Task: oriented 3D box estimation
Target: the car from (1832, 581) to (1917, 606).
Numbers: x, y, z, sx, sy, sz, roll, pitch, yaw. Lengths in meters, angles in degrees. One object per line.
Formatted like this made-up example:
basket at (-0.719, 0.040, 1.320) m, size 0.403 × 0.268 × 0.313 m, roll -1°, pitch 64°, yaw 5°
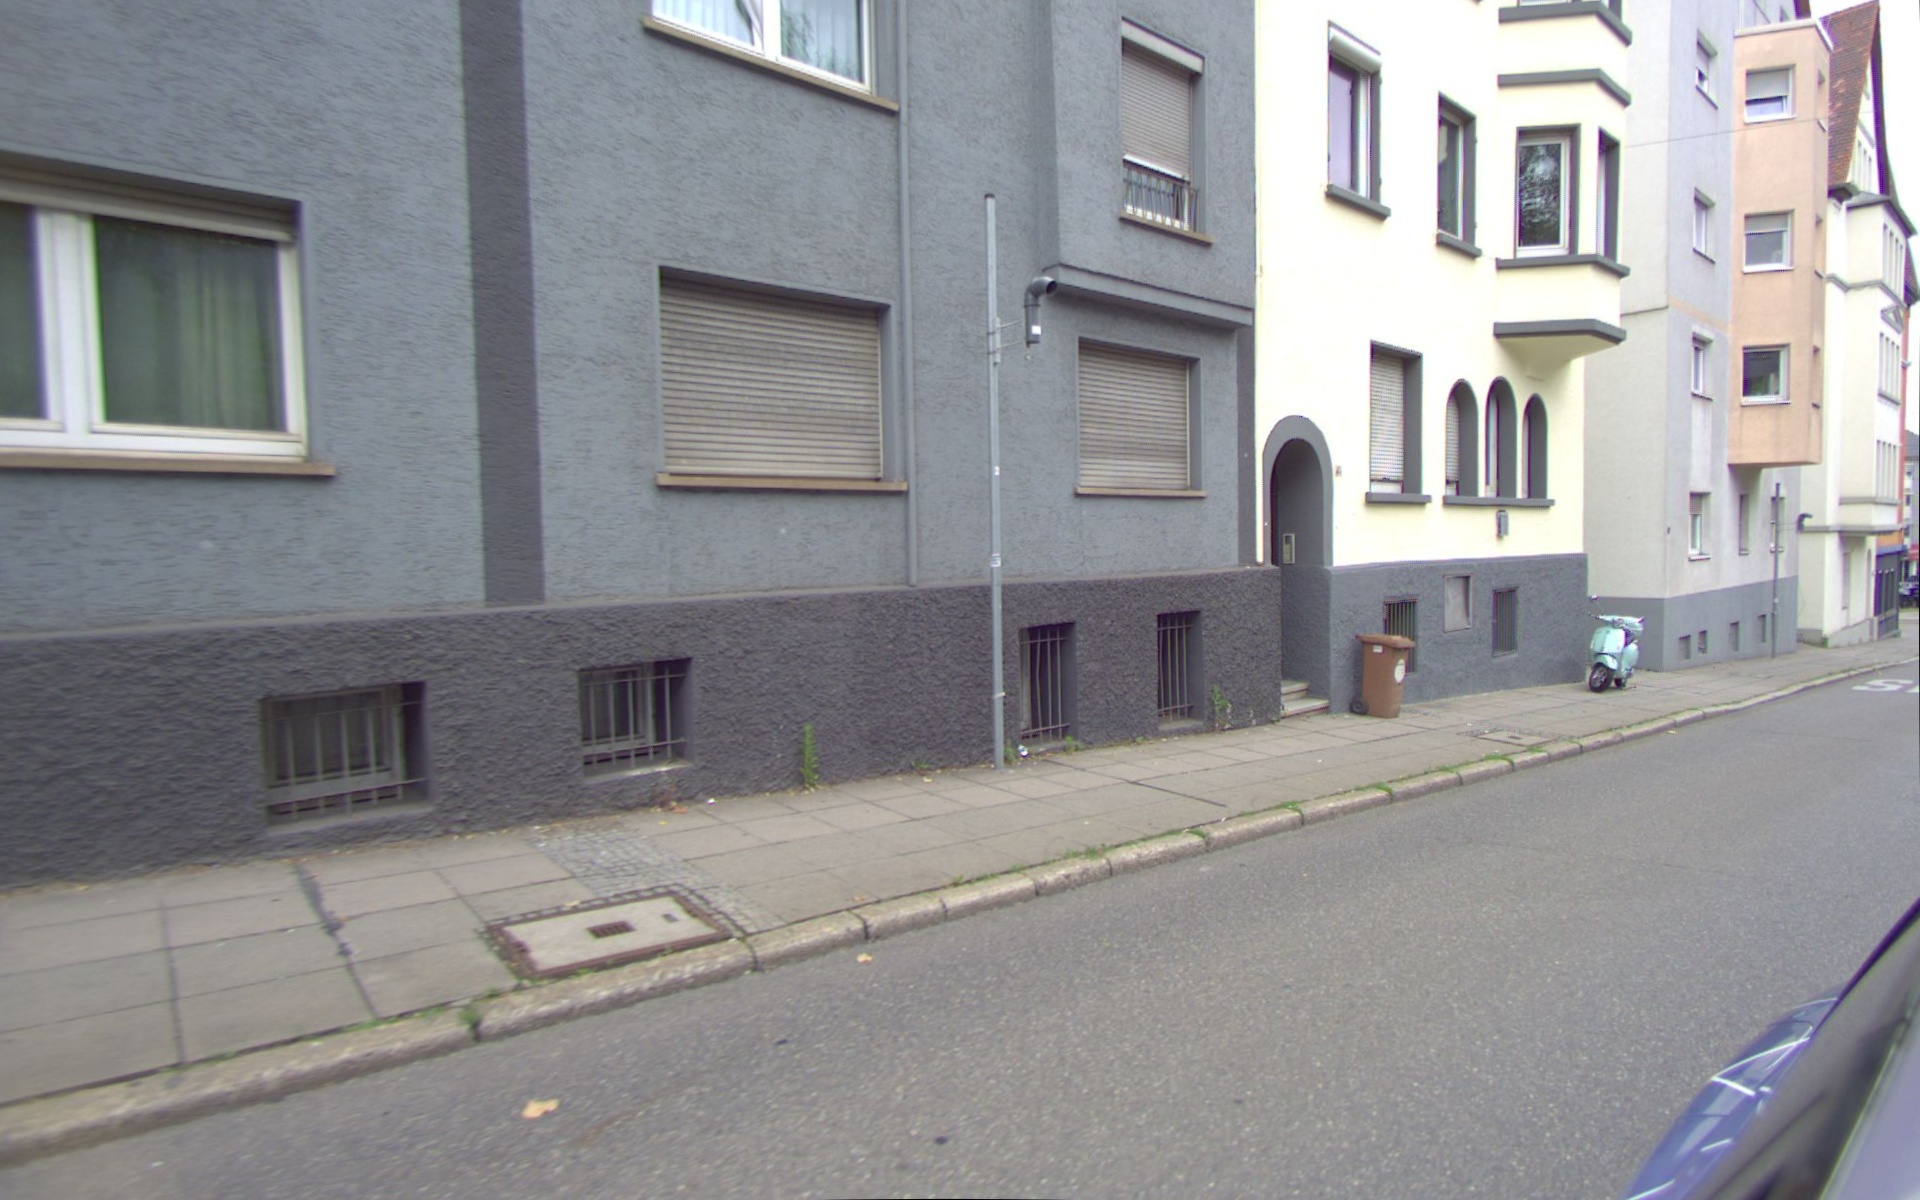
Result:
car at (65.425, -0.483, 72.473) m, size 1.796 × 1.596 × 4.258 m, roll 0°, pitch 3°, yaw -39°

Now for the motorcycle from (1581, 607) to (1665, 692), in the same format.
motorcycle at (10.245, 0.726, 15.601) m, size 2.189 × 1.170 × 0.538 m, roll 0°, pitch 4°, yaw -43°

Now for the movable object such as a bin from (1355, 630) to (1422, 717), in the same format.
movable object such as a bin at (4.831, 0.813, 11.418) m, size 0.508 × 0.902 × 0.476 m, roll 0°, pitch 4°, yaw -41°
